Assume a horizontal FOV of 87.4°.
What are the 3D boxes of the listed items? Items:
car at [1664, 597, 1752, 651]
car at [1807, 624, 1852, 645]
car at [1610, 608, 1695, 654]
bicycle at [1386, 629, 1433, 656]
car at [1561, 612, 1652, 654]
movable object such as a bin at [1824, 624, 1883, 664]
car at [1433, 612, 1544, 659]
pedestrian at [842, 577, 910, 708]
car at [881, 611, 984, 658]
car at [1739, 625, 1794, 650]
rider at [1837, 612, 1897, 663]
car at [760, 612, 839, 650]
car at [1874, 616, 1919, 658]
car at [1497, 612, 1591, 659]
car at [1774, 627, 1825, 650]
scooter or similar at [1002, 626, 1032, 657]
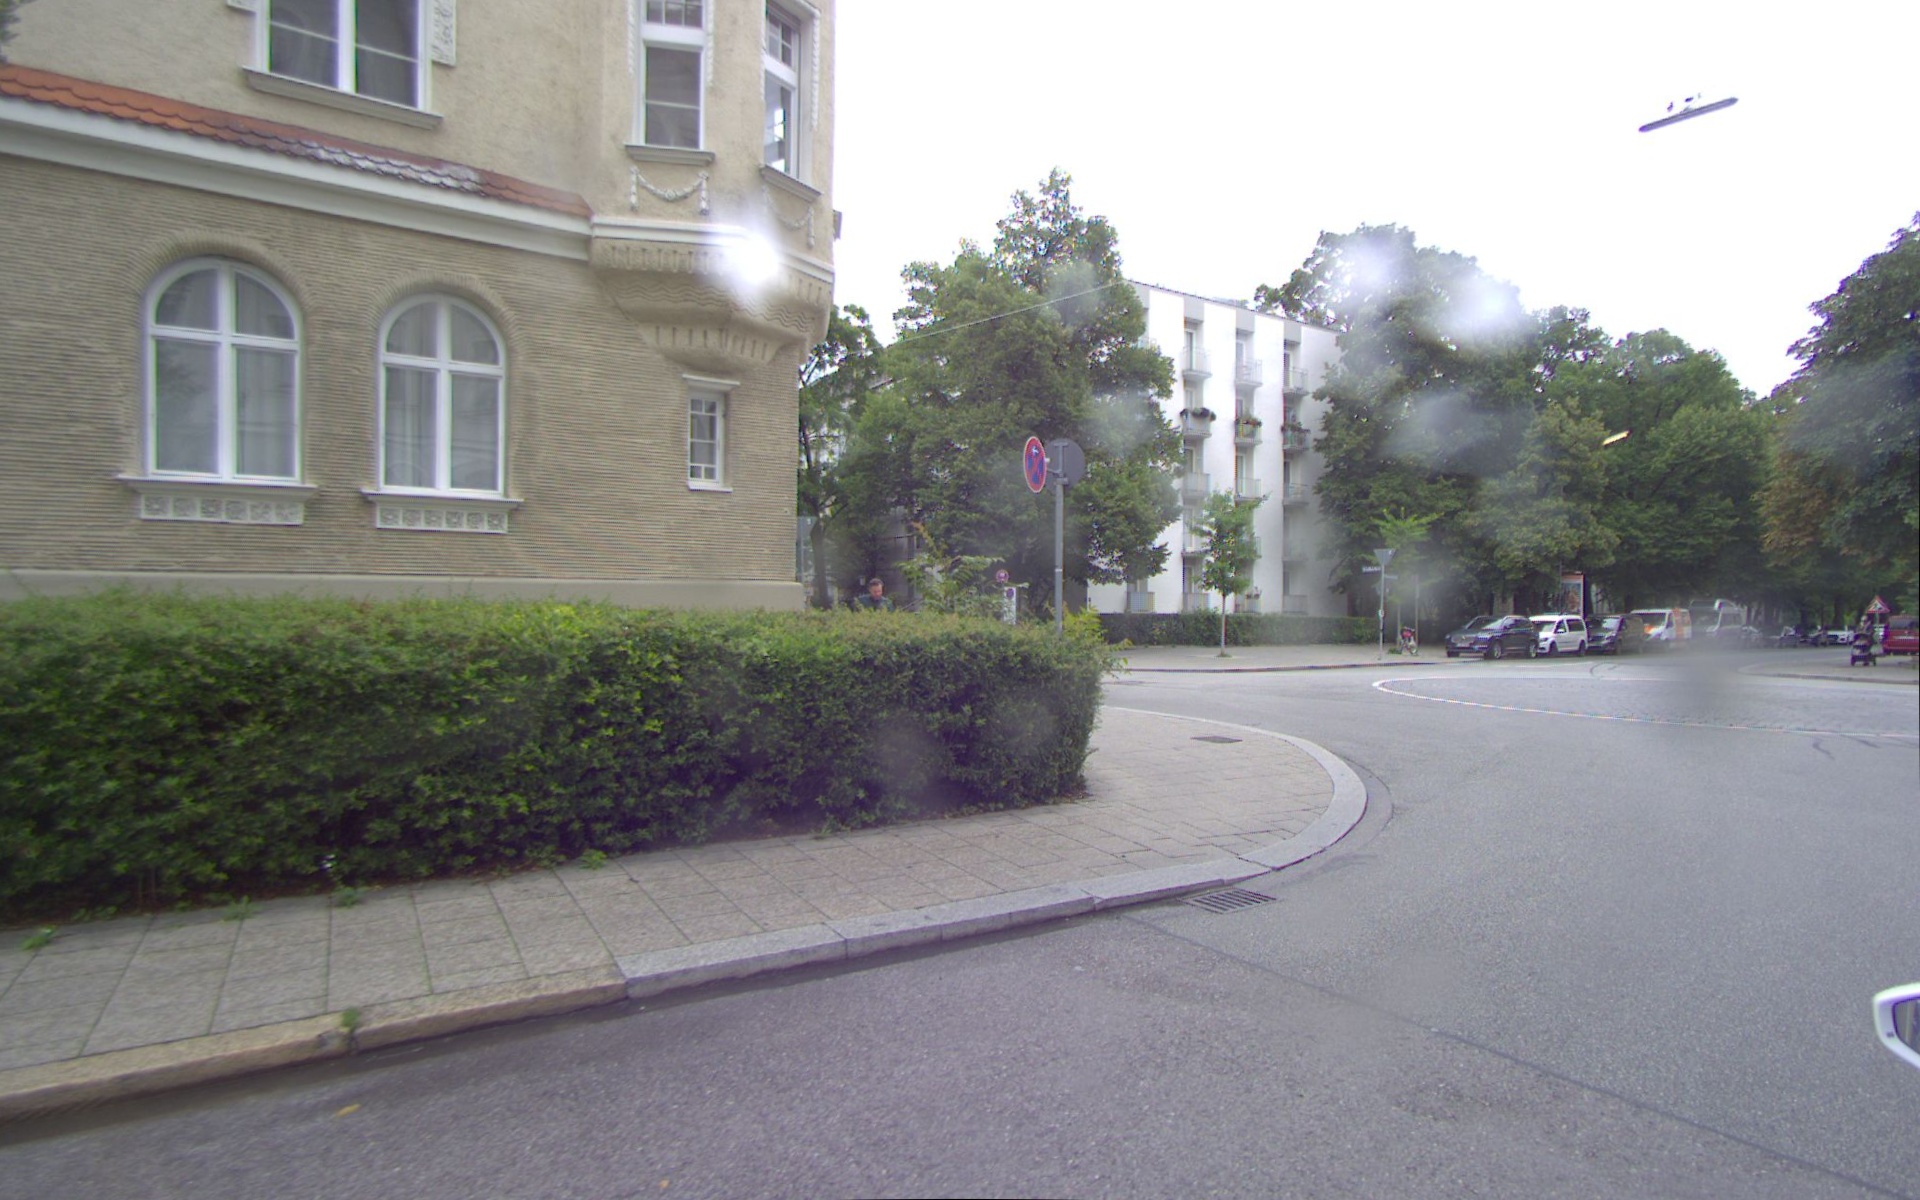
[{"bbox_3d":[43.586,1.406,58.439,6.516,2.961,2.319,1,-1,-36],"label":"car"},{"bbox_3d":[67.306,2.661,77.717,4.036,1.592,1.882,1,-1,-37],"label":"car"},{"bbox_3d":[36.313,1.604,52.625,5.145,2.281,2.096,1,-1,-36],"label":"car"},{"bbox_3d":[18.595,1.763,41.541,1.952,1.065,0.905,1,-1,-35],"label":"bicycle"},{"bbox_3d":[30.892,1.555,47.929,4.939,1.883,2.051,1,-1,-36],"label":"car"},{"bbox_3d":[29.691,1.469,33.396,1.071,1.284,1.076,0,-3,-23],"label":"movable object such as a bin"},{"bbox_3d":[21.408,1.413,40.622,4.860,1.790,2.051,1,-1,-36],"label":"car"},{"bbox_3d":[-1.203,0.609,14.588,0.873,1.834,1.057,0,-1,1],"label":"pedestrian"},{"bbox_3d":[-1.034,1.187,35.760,1.759,1.538,3.994,1,-1,-36],"label":"car"},{"bbox_3d":[52.172,2.389,64.969,4.036,1.558,1.882,1,-1,-37],"label":"car"},{"bbox_3d":[30.455,1.274,33.747,1.123,1.689,1.080,0,-3,-23],"label":"rider"},{"bbox_3d":[-6.998,1.328,43.550,1.759,1.538,3.994,1,-1,-36],"label":"car"},{"bbox_3d":[46.644,1.796,49.465,4.413,1.948,2.023,1,-1,-42],"label":"car"},{"bbox_3d":[25.618,1.536,43.999,4.823,1.920,1.912,1,-1,-37],"label":"car"},{"bbox_3d":[58.778,2.677,70.319,4.036,1.592,1.882,1,-1,-37],"label":"car"},{"bbox_3d":[1.952,1.408,34.370,0.374,1.039,1.134,0,-1,45],"label":"scooter or similar"}]
